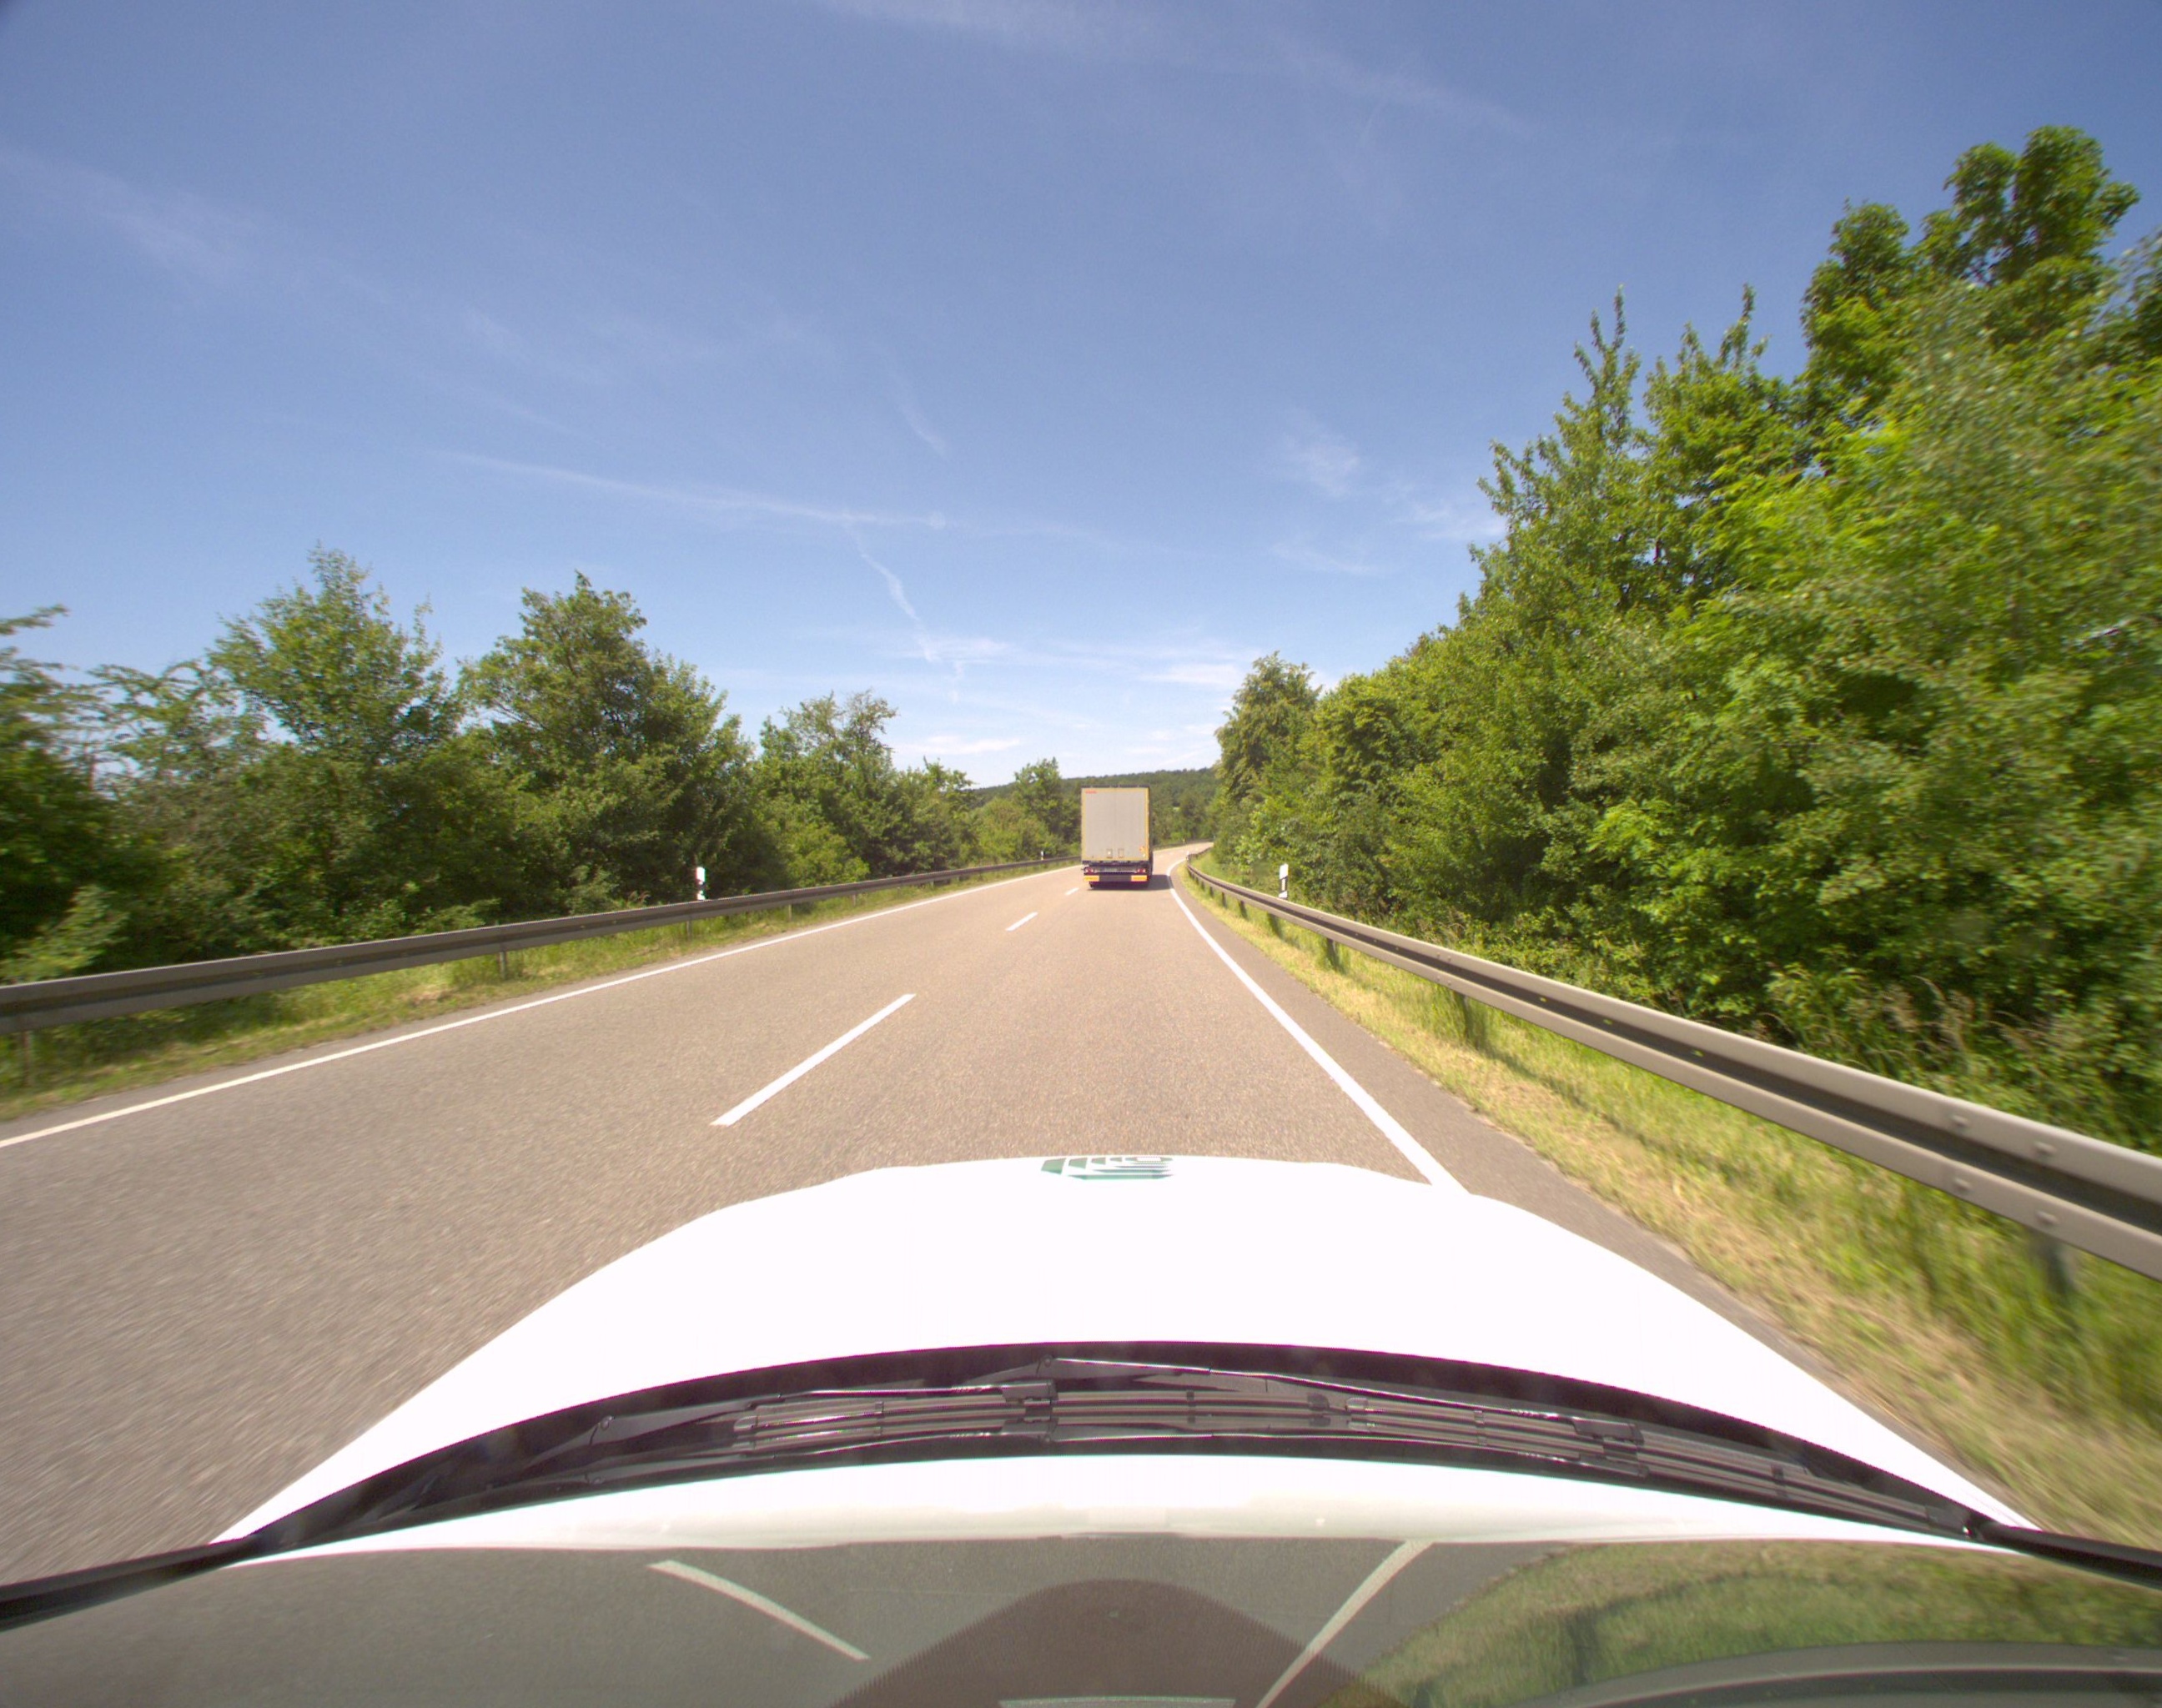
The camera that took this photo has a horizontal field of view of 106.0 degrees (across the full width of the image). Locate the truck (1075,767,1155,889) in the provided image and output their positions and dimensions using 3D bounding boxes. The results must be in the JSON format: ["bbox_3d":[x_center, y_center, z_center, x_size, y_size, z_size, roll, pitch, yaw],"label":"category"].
[{"bbox_3d":[1.783,-0.996,36.220,2.803,4.532,11.786,-1,0,6],"label":"truck"}]
